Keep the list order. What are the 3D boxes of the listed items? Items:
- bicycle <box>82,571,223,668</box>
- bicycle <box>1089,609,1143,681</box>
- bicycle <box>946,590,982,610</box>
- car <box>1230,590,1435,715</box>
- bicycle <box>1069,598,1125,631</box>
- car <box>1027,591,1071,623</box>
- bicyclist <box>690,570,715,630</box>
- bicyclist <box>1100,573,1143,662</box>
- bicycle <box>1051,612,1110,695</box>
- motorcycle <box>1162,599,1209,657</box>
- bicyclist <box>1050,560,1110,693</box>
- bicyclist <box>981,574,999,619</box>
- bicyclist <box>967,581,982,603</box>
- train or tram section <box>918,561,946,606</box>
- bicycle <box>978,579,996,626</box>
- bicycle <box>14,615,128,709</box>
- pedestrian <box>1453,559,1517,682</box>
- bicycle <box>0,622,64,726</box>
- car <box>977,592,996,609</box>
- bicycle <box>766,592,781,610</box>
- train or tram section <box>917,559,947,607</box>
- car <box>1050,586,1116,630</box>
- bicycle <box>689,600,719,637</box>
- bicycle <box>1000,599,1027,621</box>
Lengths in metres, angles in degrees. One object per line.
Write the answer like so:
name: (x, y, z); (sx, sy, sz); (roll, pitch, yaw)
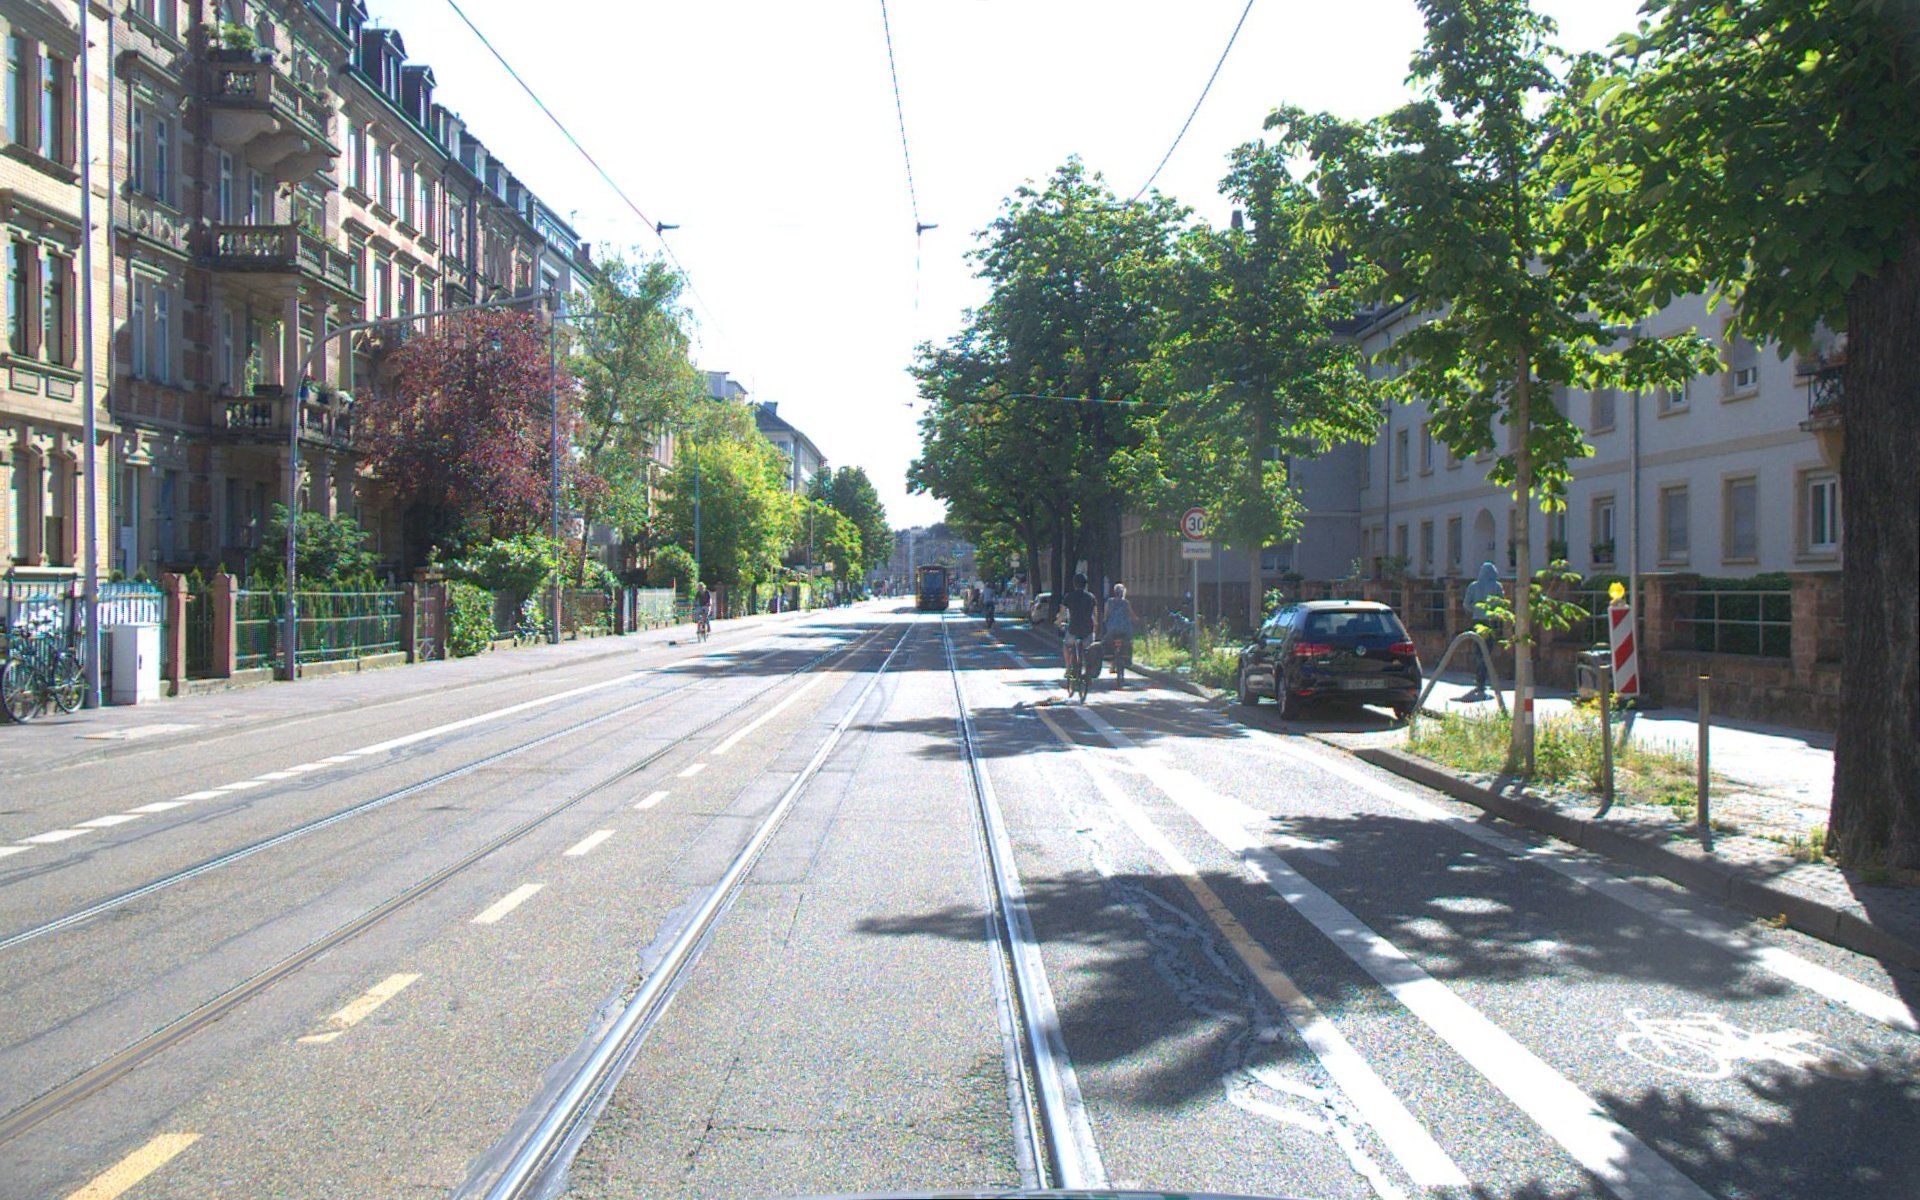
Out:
bicycle: (-11.923, 0.288, 24.461); (1.730, 1.343, 0.612); (2, 0, -11)
bicycle: (2.654, 0.751, 28.348); (0.678, 1.132, 1.917); (2, 0, -1)
bicycle: (0.266, 0.012, 104.647); (2.094, 1.191, 0.803); (2, 0, 14)
car: (4.833, 0.624, 22.002); (1.751, 1.489, 4.043); (0, 0, -1)
bicycle: (4.481, 0.471, 54.183); (1.756, 1.037, 0.620); (-1, 0, -2)
car: (4.084, 0.306, 76.055); (1.713, 1.445, 3.999); (0, 0, -1)
bicyclist: (-7.960, 0.005, 51.188); (0.647, 1.833, 0.616); (-1, -1, -1)
bicyclist: (2.777, 0.295, 28.483); (0.622, 1.493, 0.616); (2, 0, -1)
bicycle: (1.743, 0.758, 24.138); (0.678, 1.132, 1.718); (2, 0, -1)
motorcycle: (4.955, 0.599, 36.381); (0.486, 1.211, 1.858); (-3, 1, -8)
bicyclist: (1.733, 0.377, 24.006); (0.713, 1.880, 0.836); (2, 0, -2)
bicyclist: (1.249, -0.161, 68.375); (0.632, 1.827, 0.955); (2, 0, -1)
bicyclist: (0.913, -0.514, 104.417); (0.756, 1.314, 0.734); (2, 0, 15)
train or tram section: (-2.321, -1.341, 135.012); (2.110, 3.491, 6.609); (2, 0, -1)
bicycle: (1.113, 0.097, 69.072); (0.649, 1.891, 2.260); (2, 0, 0)
bicycle: (-10.461, 0.701, 19.528); (0.328, 1.018, 1.869); (2, 0, -1)
pedestrian: (7.713, 0.290, 24.277); (0.748, 1.754, 0.579); (2, 0, 28)
bicycle: (-10.717, 0.840, 19.010); (0.363, 1.146, 0.808); (2, 0, -1)
car: (2.526, 0.055, 158.764); (1.718, 1.579, 3.676); (2, 0, -1)
bicycle: (-11.997, 0.048, 106.331); (0.623, 1.088, 1.823); (2, 0, -17)
train or tram section: (-2.192, -1.305, 128.362); (2.110, 3.491, 6.609); (2, 0, -1)
car: (4.195, 0.239, 57.054); (1.596, 1.461, 4.661); (0, 0, -4)
bicycle: (-7.946, 0.568, 51.319); (0.677, 1.132, 1.718); (0, 0, -1)
bicycle: (2.646, 0.489, 81.759); (1.243, 1.042, 0.704); (2, -1, 7)
